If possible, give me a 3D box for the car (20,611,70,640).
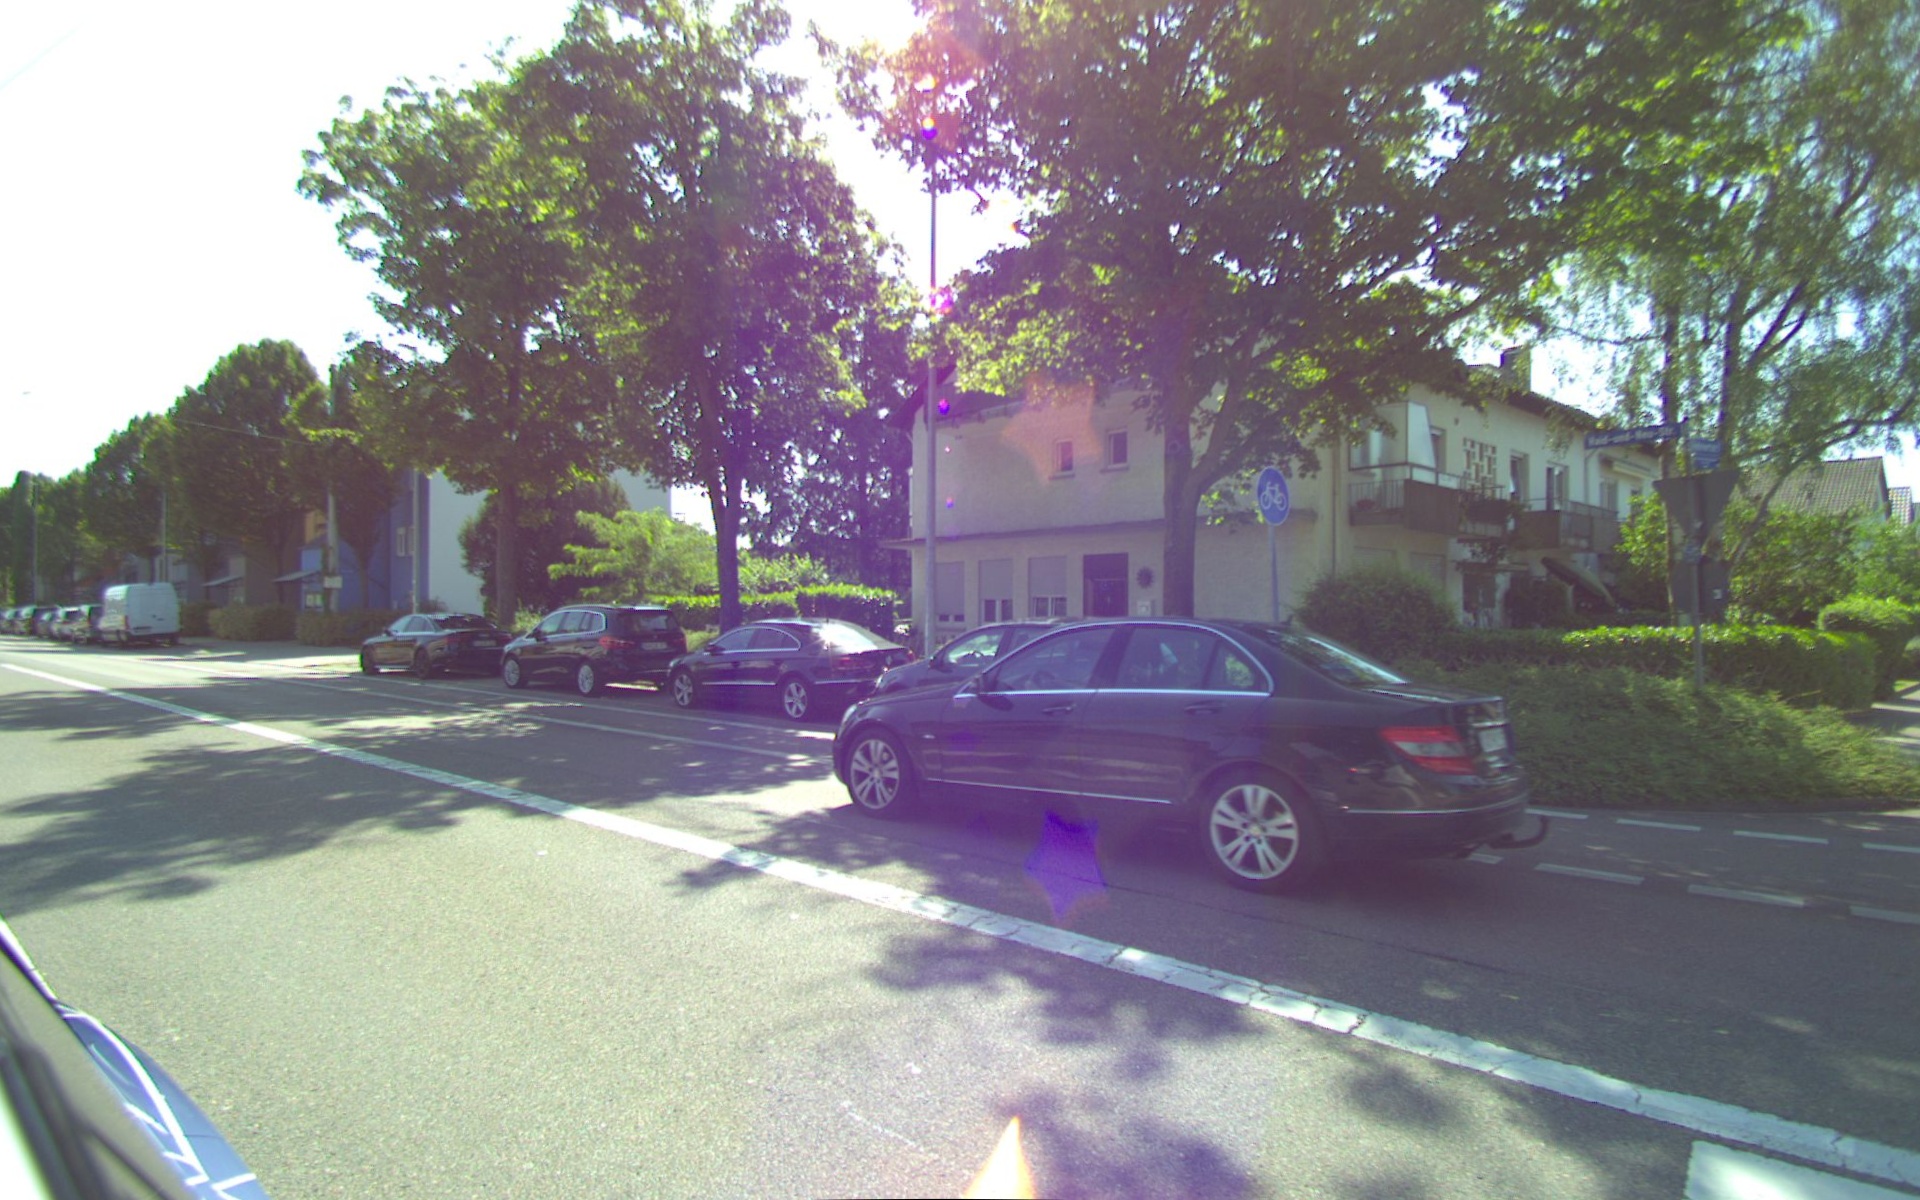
[{"bbox_3d":[-53.496,1.468,59.138,3.764,1.513,1.658,-1,2,41],"label":"car"}]

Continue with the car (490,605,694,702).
[{"bbox_3d":[-6.966,0.935,18.961,4.238,1.625,1.658,-1,-2,39],"label":"car"}]

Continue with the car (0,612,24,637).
[{"bbox_3d":[-62.903,1.624,66.317,3.760,1.513,1.659,-1,2,37],"label":"car"}]

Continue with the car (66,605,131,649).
[{"bbox_3d":[-41.773,1.255,49.030,4.455,1.950,1.658,-1,2,41],"label":"car"}]

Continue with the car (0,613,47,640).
[{"bbox_3d":[-58.062,1.610,62.576,3.760,1.513,1.659,-1,2,37],"label":"car"}]

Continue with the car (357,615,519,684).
[{"bbox_3d":[-12.074,1.076,23.296,4.453,1.447,1.658,-1,-2,39],"label":"car"}]

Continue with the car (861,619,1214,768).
[{"bbox_3d":[0.790,0.970,12.045,4.082,1.462,1.598,-1,-2,42],"label":"car"}]

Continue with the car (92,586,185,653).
[{"bbox_3d":[-35.460,0.803,43.615,6.083,2.671,1.991,-1,2,41],"label":"car"}]

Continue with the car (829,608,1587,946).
[{"bbox_3d":[1.290,0.793,6.364,4.302,1.420,1.767,-1,-3,41],"label":"car"}]

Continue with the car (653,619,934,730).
[{"bbox_3d":[-2.637,1.014,15.302,4.579,1.406,1.679,-1,-1,41],"label":"car"}]

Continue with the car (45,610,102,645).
[{"bbox_3d":[-46.118,1.389,52.626,4.146,1.681,1.658,-1,2,41],"label":"car"}]
